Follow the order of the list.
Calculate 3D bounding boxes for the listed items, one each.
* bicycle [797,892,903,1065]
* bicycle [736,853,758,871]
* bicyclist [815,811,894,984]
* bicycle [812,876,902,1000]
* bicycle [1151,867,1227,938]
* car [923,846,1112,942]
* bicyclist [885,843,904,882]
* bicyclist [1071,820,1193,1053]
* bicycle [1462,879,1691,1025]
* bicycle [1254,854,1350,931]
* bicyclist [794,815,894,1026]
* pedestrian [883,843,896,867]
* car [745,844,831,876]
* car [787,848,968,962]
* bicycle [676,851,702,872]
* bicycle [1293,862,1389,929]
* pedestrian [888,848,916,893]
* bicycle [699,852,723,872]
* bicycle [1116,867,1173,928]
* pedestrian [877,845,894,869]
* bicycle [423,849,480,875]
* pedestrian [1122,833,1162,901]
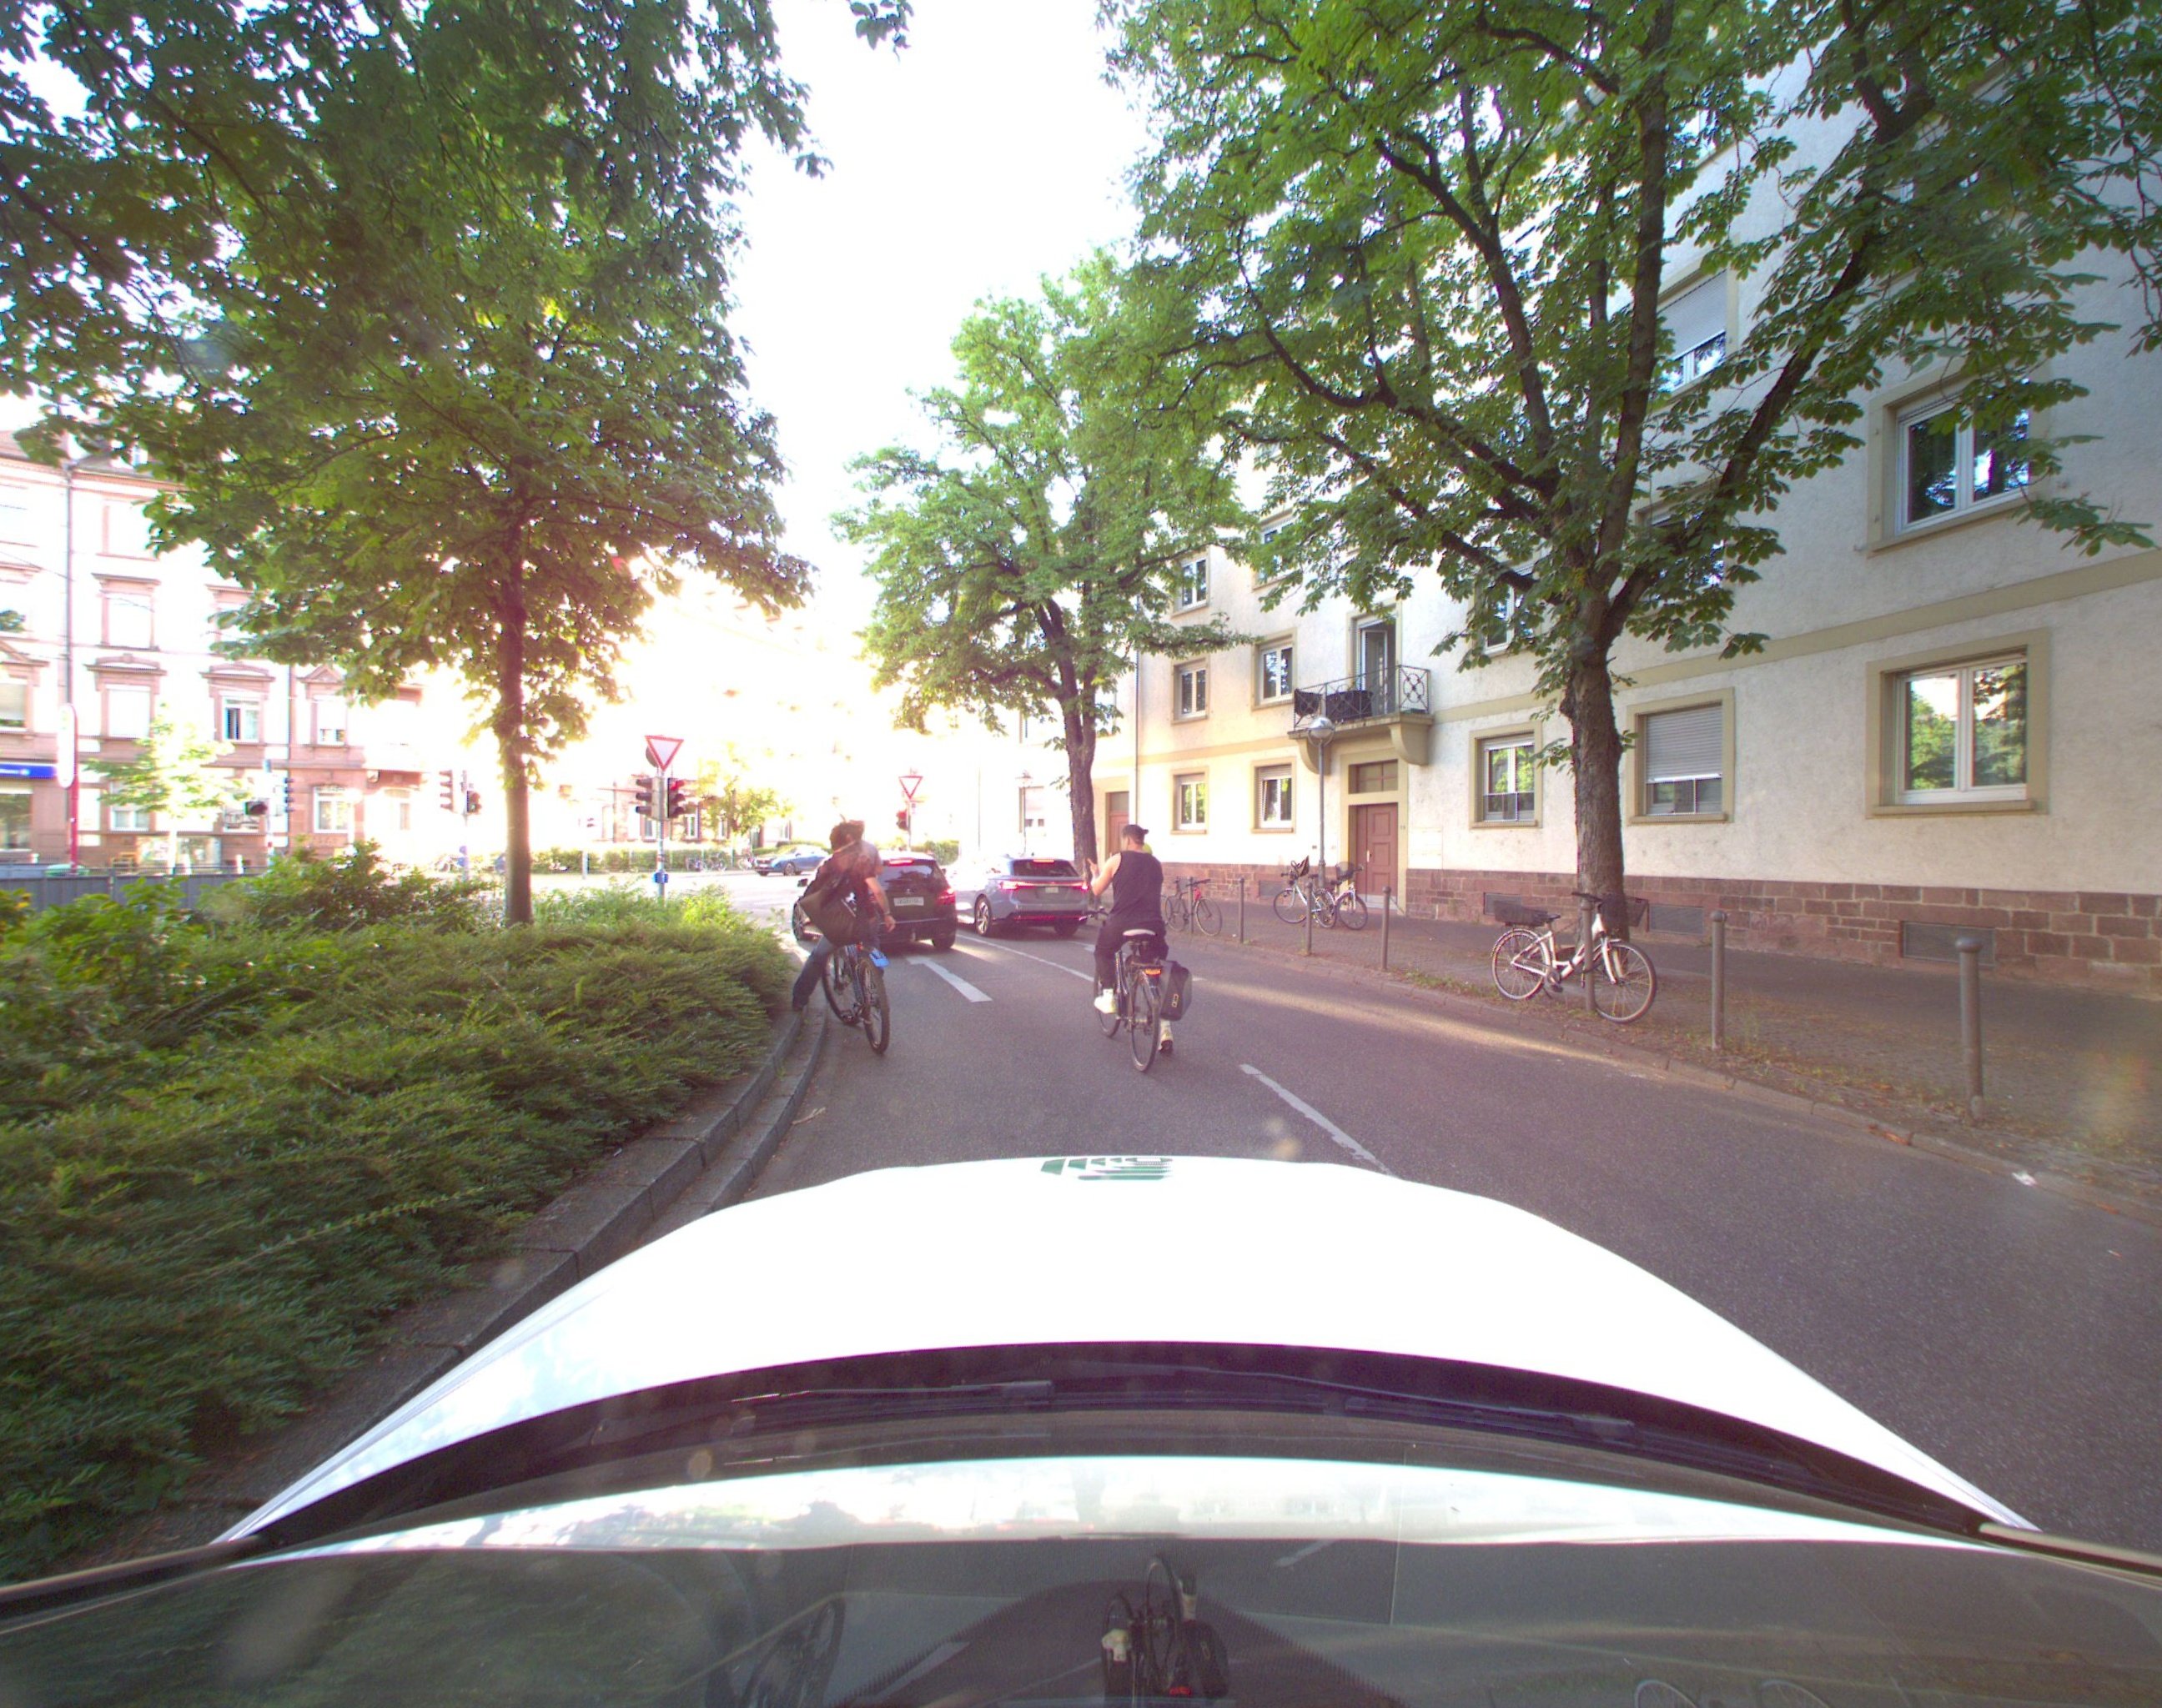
[{"bbox_3d":[-1.870,0.923,6.746,0.718,1.107,1.957,1,0,-14],"label":"bicycle"},{"bbox_3d":[-19.763,0.441,48.151,0.438,1.038,1.240,1,1,24],"label":"bicycle"},{"bbox_3d":[-2.683,0.478,9.598,0.797,1.913,0.938,1,0,-21],"label":"bicyclist"},{"bbox_3d":[-2.664,0.894,9.528,0.813,1.184,2.211,0,0,-21],"label":"bicycle"},{"bbox_3d":[1.896,0.825,14.527,0.528,1.107,1.728,-3,2,-21],"label":"bicycle"},{"bbox_3d":[-1.413,0.683,15.960,1.982,1.585,4.433,2,-1,-29],"label":"car"},{"bbox_3d":[-7.748,0.331,33.851,0.525,1.598,0.677,0,0,12],"label":"bicyclist"},{"bbox_3d":[0.367,0.583,6.382,0.687,1.656,0.985,-1,0,-13],"label":"bicyclist"},{"bbox_3d":[4.517,0.826,7.619,0.514,1.095,1.962,-2,1,-18],"label":"bicycle"},{"bbox_3d":[4.007,0.663,14.923,0.719,1.277,1.954,-1,1,-18],"label":"bicycle"},{"bbox_3d":[-1.916,0.493,6.635,0.708,1.573,0.952,1,0,-16],"label":"bicyclist"},{"bbox_3d":[-13.867,0.048,58.977,0.655,1.715,0.640,0,0,32],"label":"pedestrian"},{"bbox_3d":[-15.650,0.296,43.731,1.926,1.650,4.432,0,0,19],"label":"car"},{"bbox_3d":[-3.472,0.699,13.388,1.802,1.542,3.821,-2,1,-32],"label":"car"},{"bbox_3d":[-21.398,0.407,44.469,0.438,1.107,1.240,1,0,25],"label":"bicycle"},{"bbox_3d":[4.718,0.717,14.922,0.669,1.107,1.955,1,0,-17],"label":"bicycle"},{"bbox_3d":[-6.794,0.616,30.856,0.904,1.635,0.721,2,1,-19],"label":"pedestrian"},{"bbox_3d":[-20.794,0.428,45.741,0.438,1.107,1.241,1,1,25],"label":"bicycle"},{"bbox_3d":[1.234,0.825,16.105,0.482,1.063,1.625,-2,2,-20],"label":"bicycle"},{"bbox_3d":[-13.827,0.190,57.590,0.703,1.664,0.904,4,2,36],"label":"pedestrian"},{"bbox_3d":[-28.123,0.375,36.392,1.975,1.107,0.438,2,-1,-38],"label":"bicycle"},{"bbox_3d":[1.600,0.334,21.471,0.646,1.727,0.881,-3,2,-25],"label":"pedestrian"}]
